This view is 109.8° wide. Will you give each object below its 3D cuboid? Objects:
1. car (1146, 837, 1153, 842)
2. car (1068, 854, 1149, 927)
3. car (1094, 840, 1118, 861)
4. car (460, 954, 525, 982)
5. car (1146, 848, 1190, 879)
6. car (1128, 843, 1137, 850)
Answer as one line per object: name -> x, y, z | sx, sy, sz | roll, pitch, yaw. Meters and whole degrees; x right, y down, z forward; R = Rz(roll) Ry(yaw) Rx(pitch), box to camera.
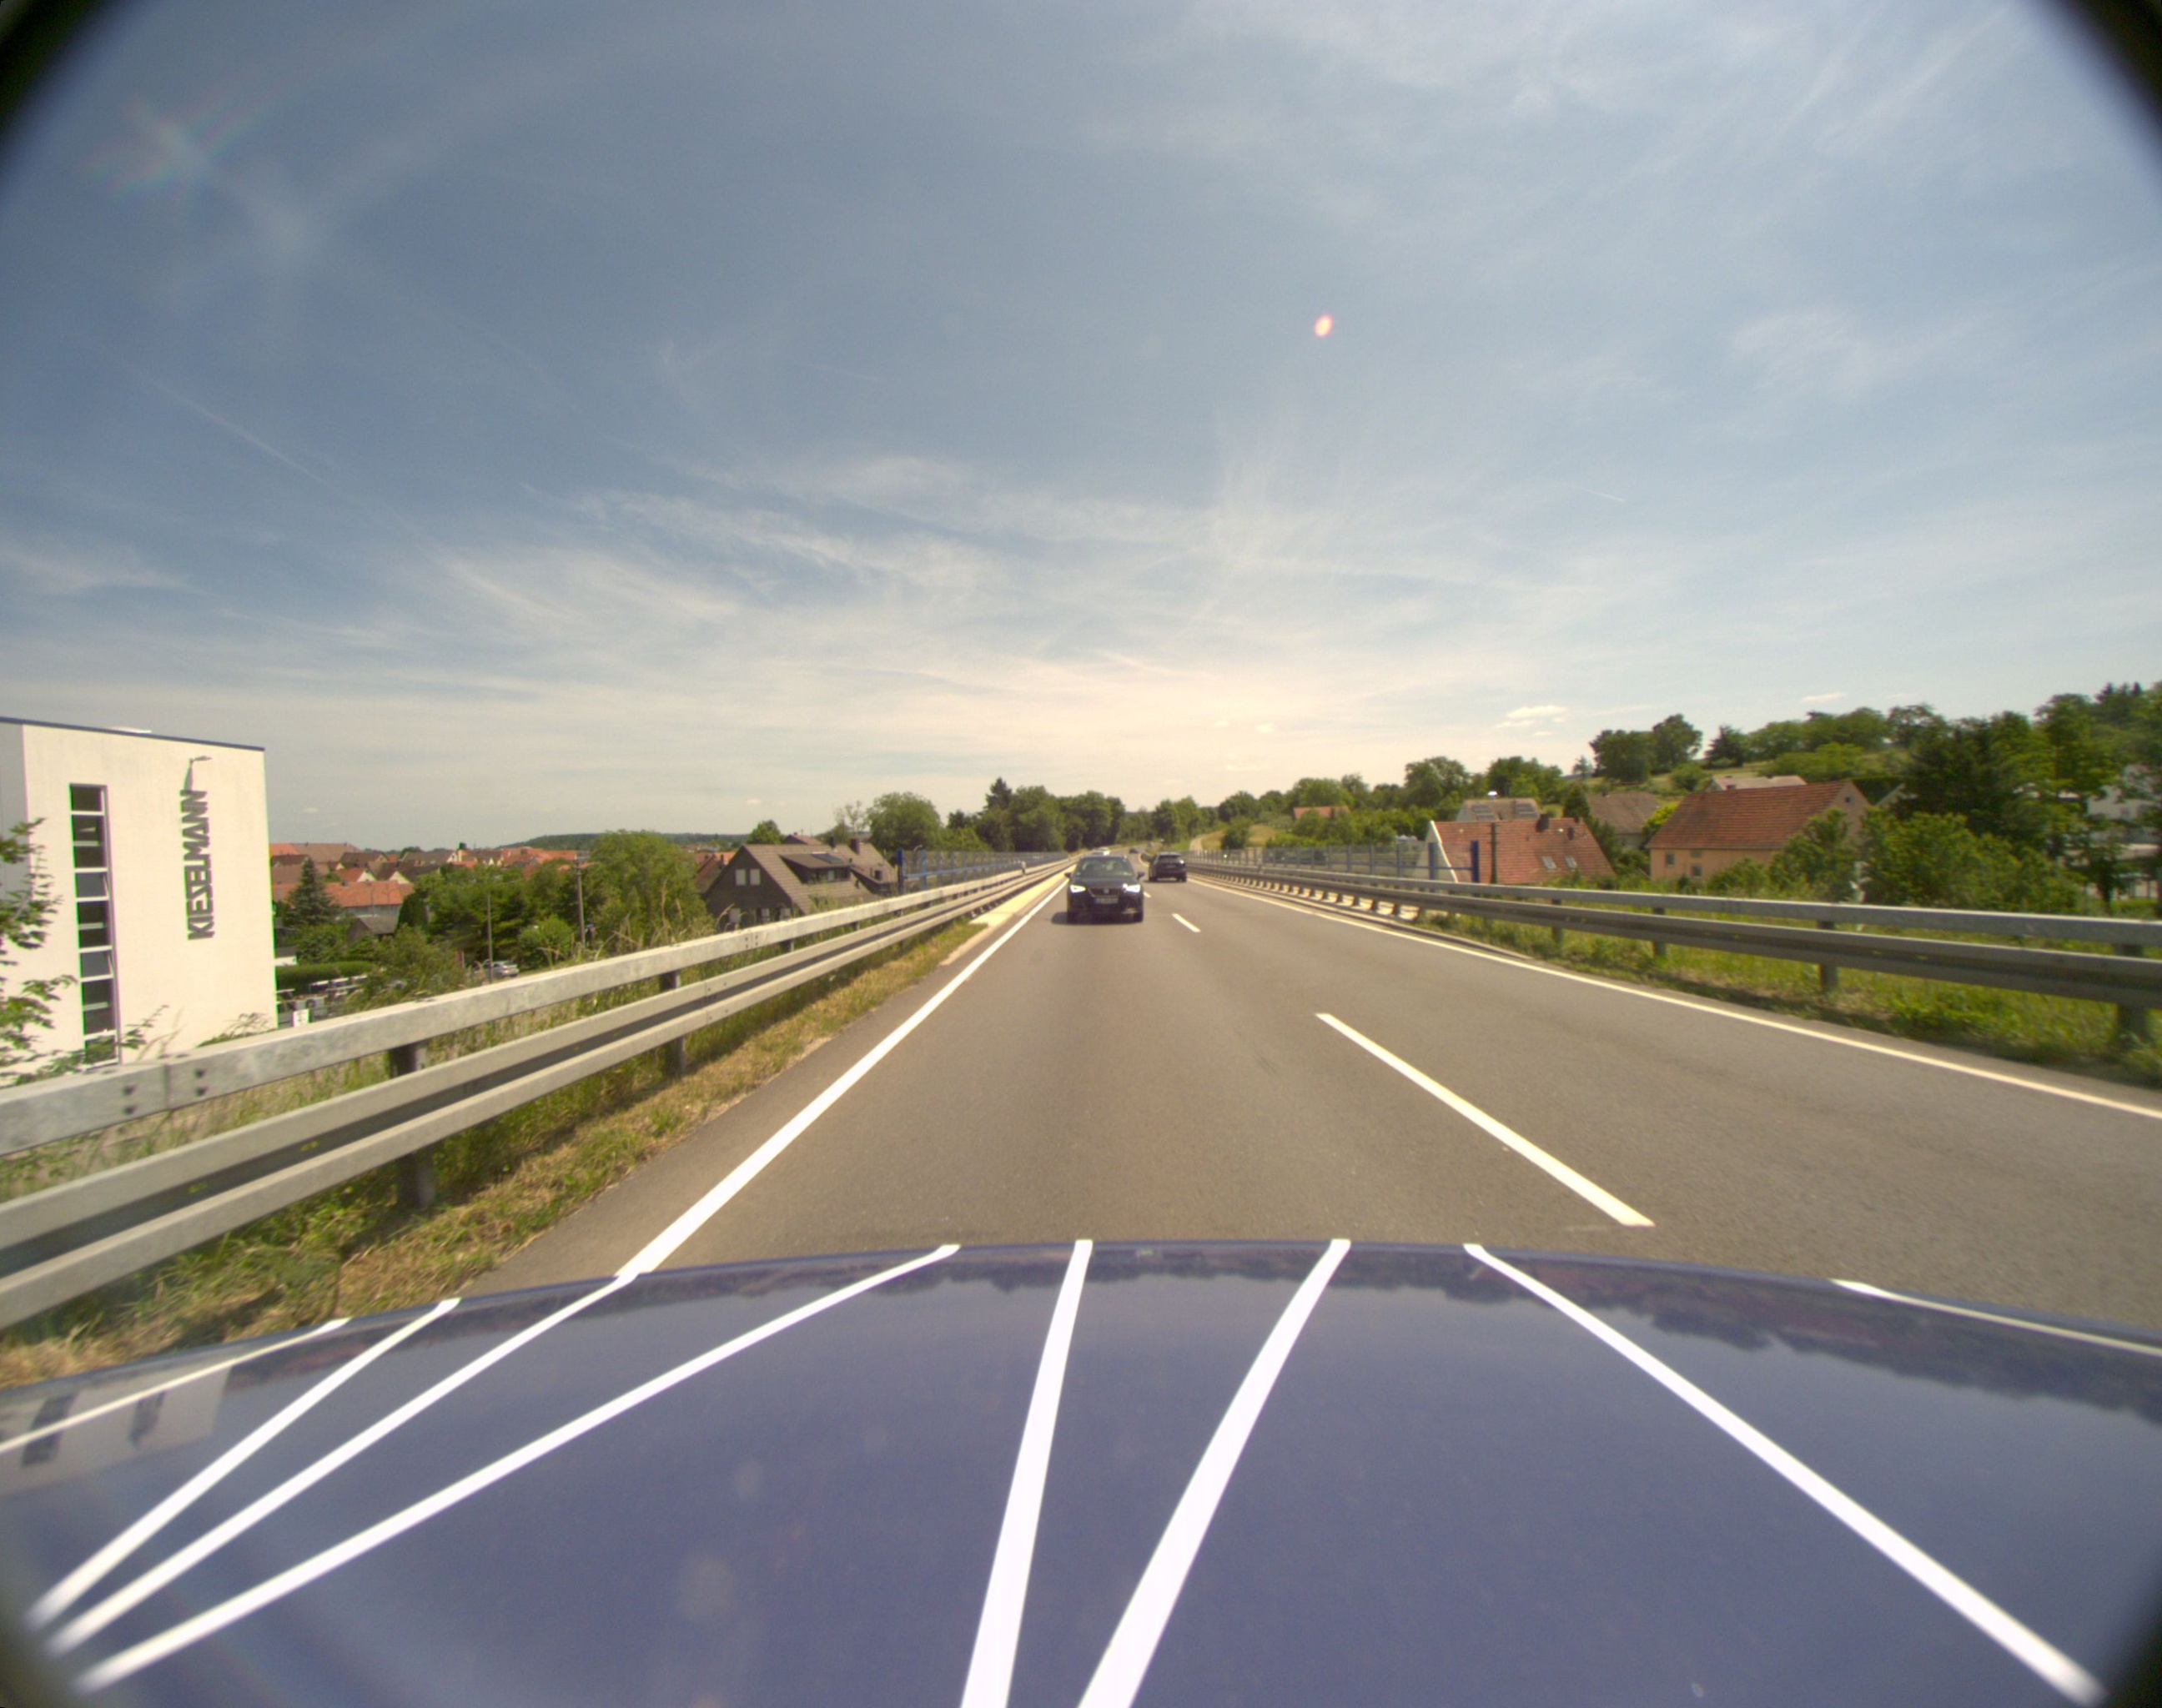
car -> 20.208, -4.228, 223.201 | 1.711, 1.496, 4.118 | 0, 1, 2
car -> 0.630, 0.792, 18.384 | 1.737, 1.468, 3.999 | 0, 1, 1
car -> 2.214, -0.316, 65.444 | 1.883, 1.699, 4.000 | 1, 1, 5
car -> -52.111, 10.080, 67.329 | 3.998, 1.559, 1.822 | -8, 2, -3
car -> 4.768, 0.499, 42.210 | 1.870, 1.602, 4.372 | -1, 0, 0
car -> 11.190, -1.692, 165.308 | 1.785, 1.427, 4.835 | 0, 1, 3
